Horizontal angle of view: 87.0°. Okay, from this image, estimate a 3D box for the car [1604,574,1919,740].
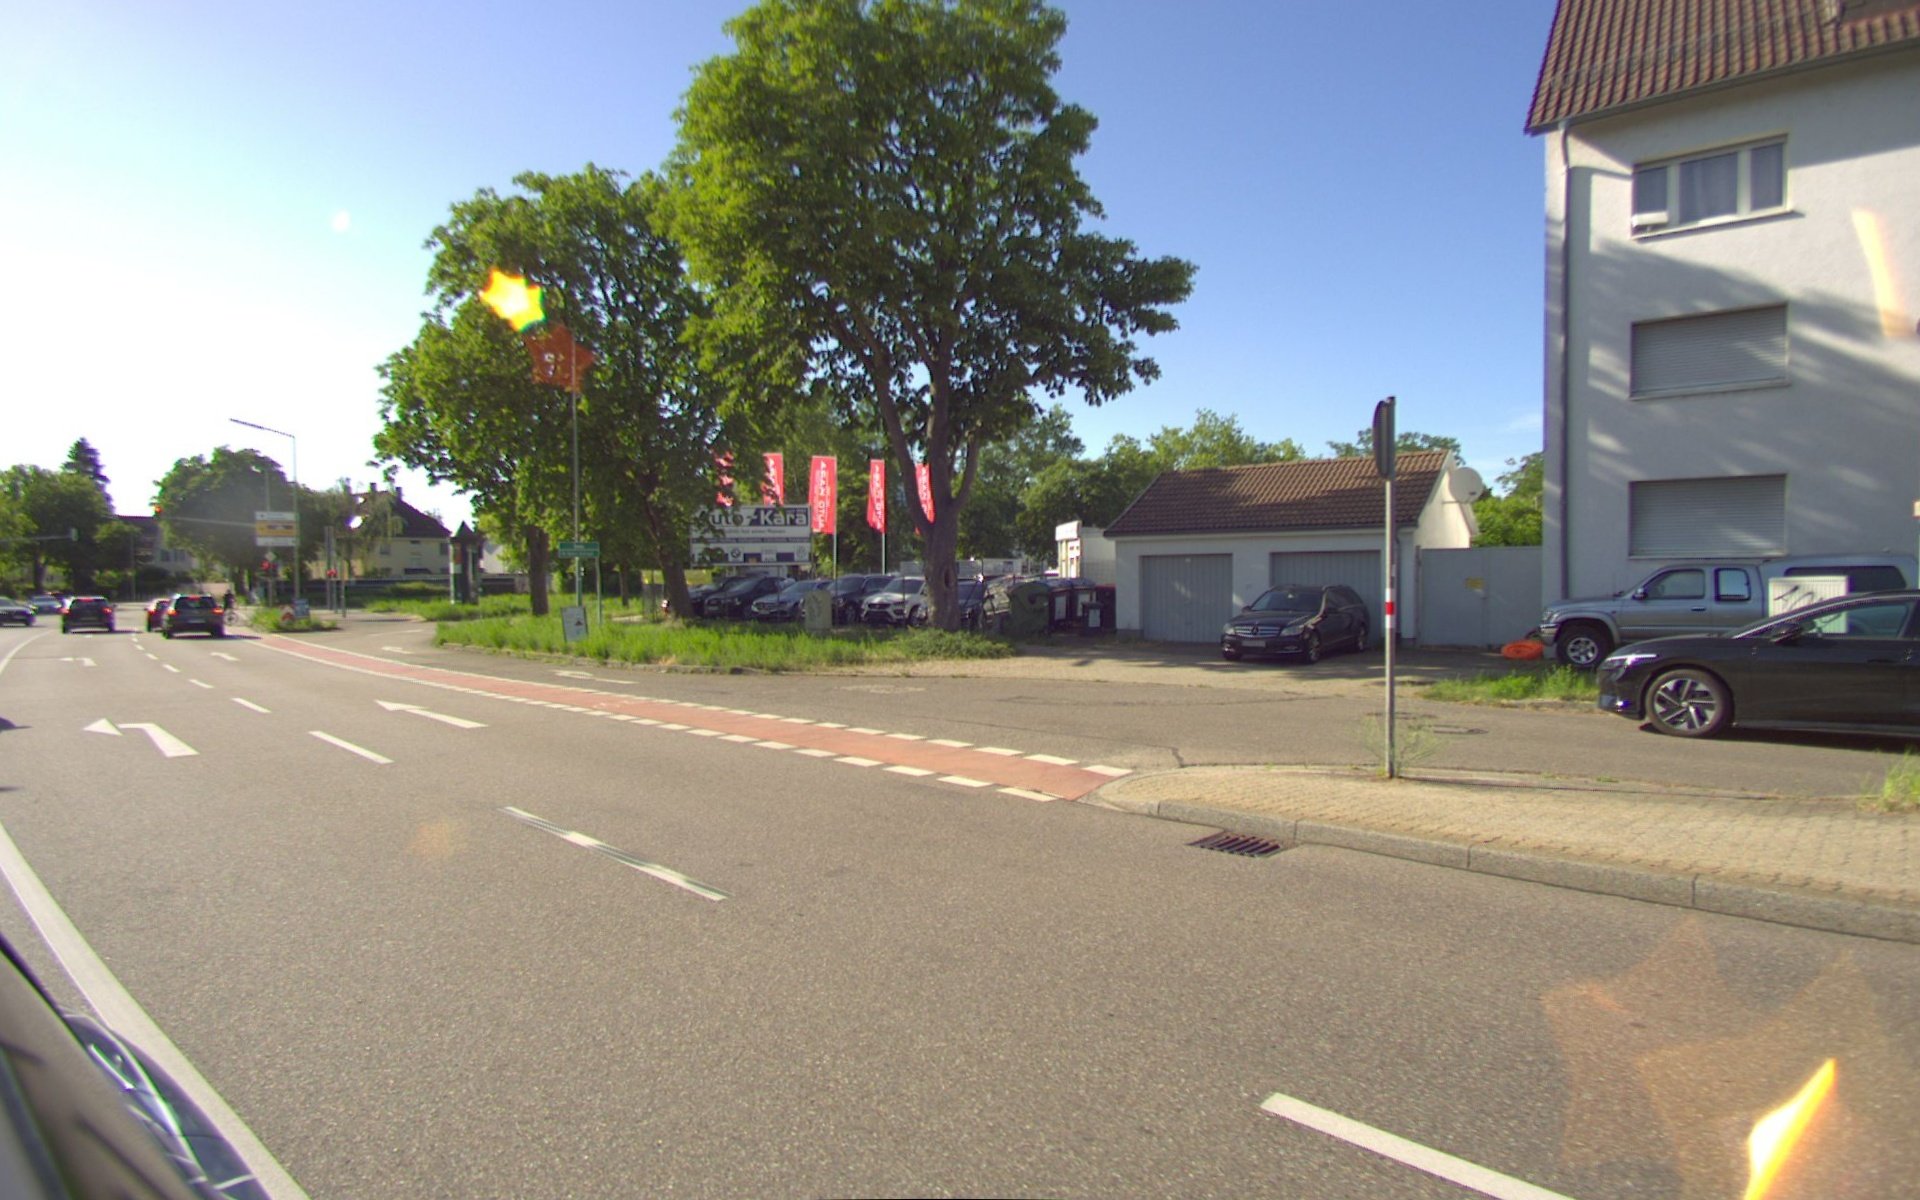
[{"bbox_3d":[9.322,0.494,9.818,4.960,1.475,2.016,0,2,42],"label":"car"}]

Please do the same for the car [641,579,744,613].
[{"bbox_3d":[-11.746,-0.219,44.847,2.338,1.319,5.039,-1,1,13],"label":"car"}]

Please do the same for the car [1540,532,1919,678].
[{"bbox_3d":[11.929,0.045,15.450,5.101,1.945,1.729,0,1,41],"label":"car"}]

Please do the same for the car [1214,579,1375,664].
[{"bbox_3d":[6.780,0.340,20.286,1.905,1.439,3.950,1,3,37],"label":"car"}]

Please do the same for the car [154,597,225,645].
[{"bbox_3d":[-30.092,0.795,39.484,1.830,1.749,4.275,-2,1,-42],"label":"car"}]

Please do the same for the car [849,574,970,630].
[{"bbox_3d":[-1.550,0.036,32.473,1.917,1.623,3.955,-1,1,33],"label":"car"}]

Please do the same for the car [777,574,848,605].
[{"bbox_3d":[-7.435,-0.513,50.775,1.717,1.472,4.008,-2,1,-38],"label":"car"}]

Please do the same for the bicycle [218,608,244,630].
[{"bbox_3d":[-36.488,0.951,50.643,0.925,1.024,2.201,-2,1,-39],"label":"bicycle"}]

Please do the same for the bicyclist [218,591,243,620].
[{"bbox_3d":[-36.551,0.290,50.690,0.921,1.412,0.824,-2,1,-39],"label":"bicyclist"}]

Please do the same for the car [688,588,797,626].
[{"bbox_3d":[-8.104,0.226,38.025,2.033,1.249,3.898,-1,1,26],"label":"car"}]

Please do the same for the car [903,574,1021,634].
[{"bbox_3d":[0.158,0.081,29.744,1.803,1.587,4.373,-1,1,25],"label":"car"}]

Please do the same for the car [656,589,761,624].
[{"bbox_3d":[-9.931,0.240,40.241,2.033,1.249,3.898,-1,1,26],"label":"car"}]

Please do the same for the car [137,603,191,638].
[{"bbox_3d":[-35.591,0.876,45.225,1.762,1.425,3.897,-1,1,-40],"label":"car"}]

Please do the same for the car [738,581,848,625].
[{"bbox_3d":[-5.948,0.081,36.485,1.938,1.423,3.843,-1,1,28],"label":"car"}]

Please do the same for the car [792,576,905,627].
[{"bbox_3d":[-3.738,0.025,34.642,1.990,1.572,3.965,-1,1,26],"label":"car"}]

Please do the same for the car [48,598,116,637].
[{"bbox_3d":[-38.370,0.728,44.213,4.001,1.611,1.892,1,0,44],"label":"car"}]

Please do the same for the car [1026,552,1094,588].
[{"bbox_3d":[5.874,-1.754,59.871,1.966,2.029,4.012,-2,1,-31],"label":"car"}]
